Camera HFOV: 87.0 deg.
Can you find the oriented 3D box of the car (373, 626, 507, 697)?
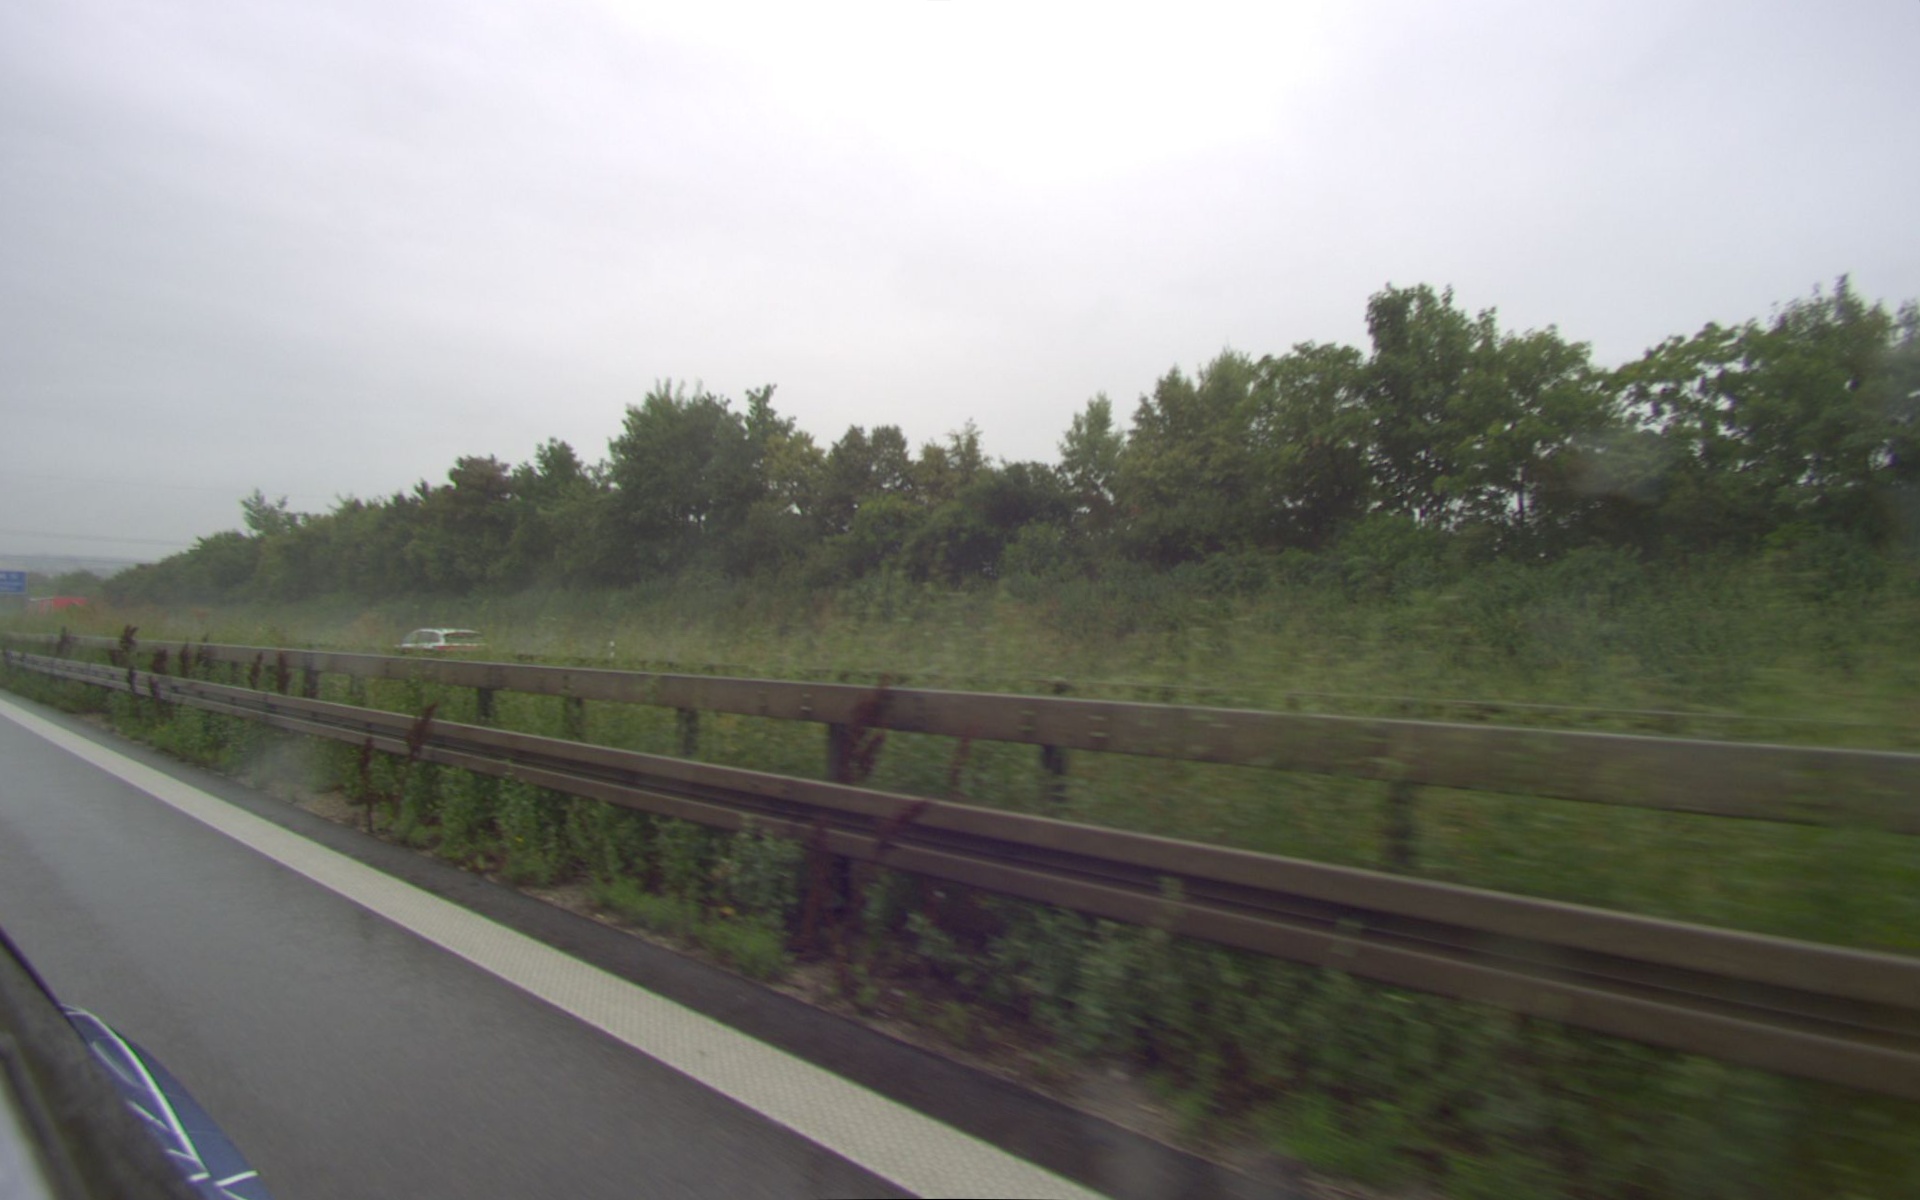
[{"bbox_3d":[-15.689,1.772,30.414,4.803,1.911,1.973,-1,-1,41],"label":"car"}]

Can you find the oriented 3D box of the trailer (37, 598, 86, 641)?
[{"bbox_3d":[-92.788,2.052,104.479,8.484,4.262,2.669,-1,-1,41],"label":"trailer"}]
